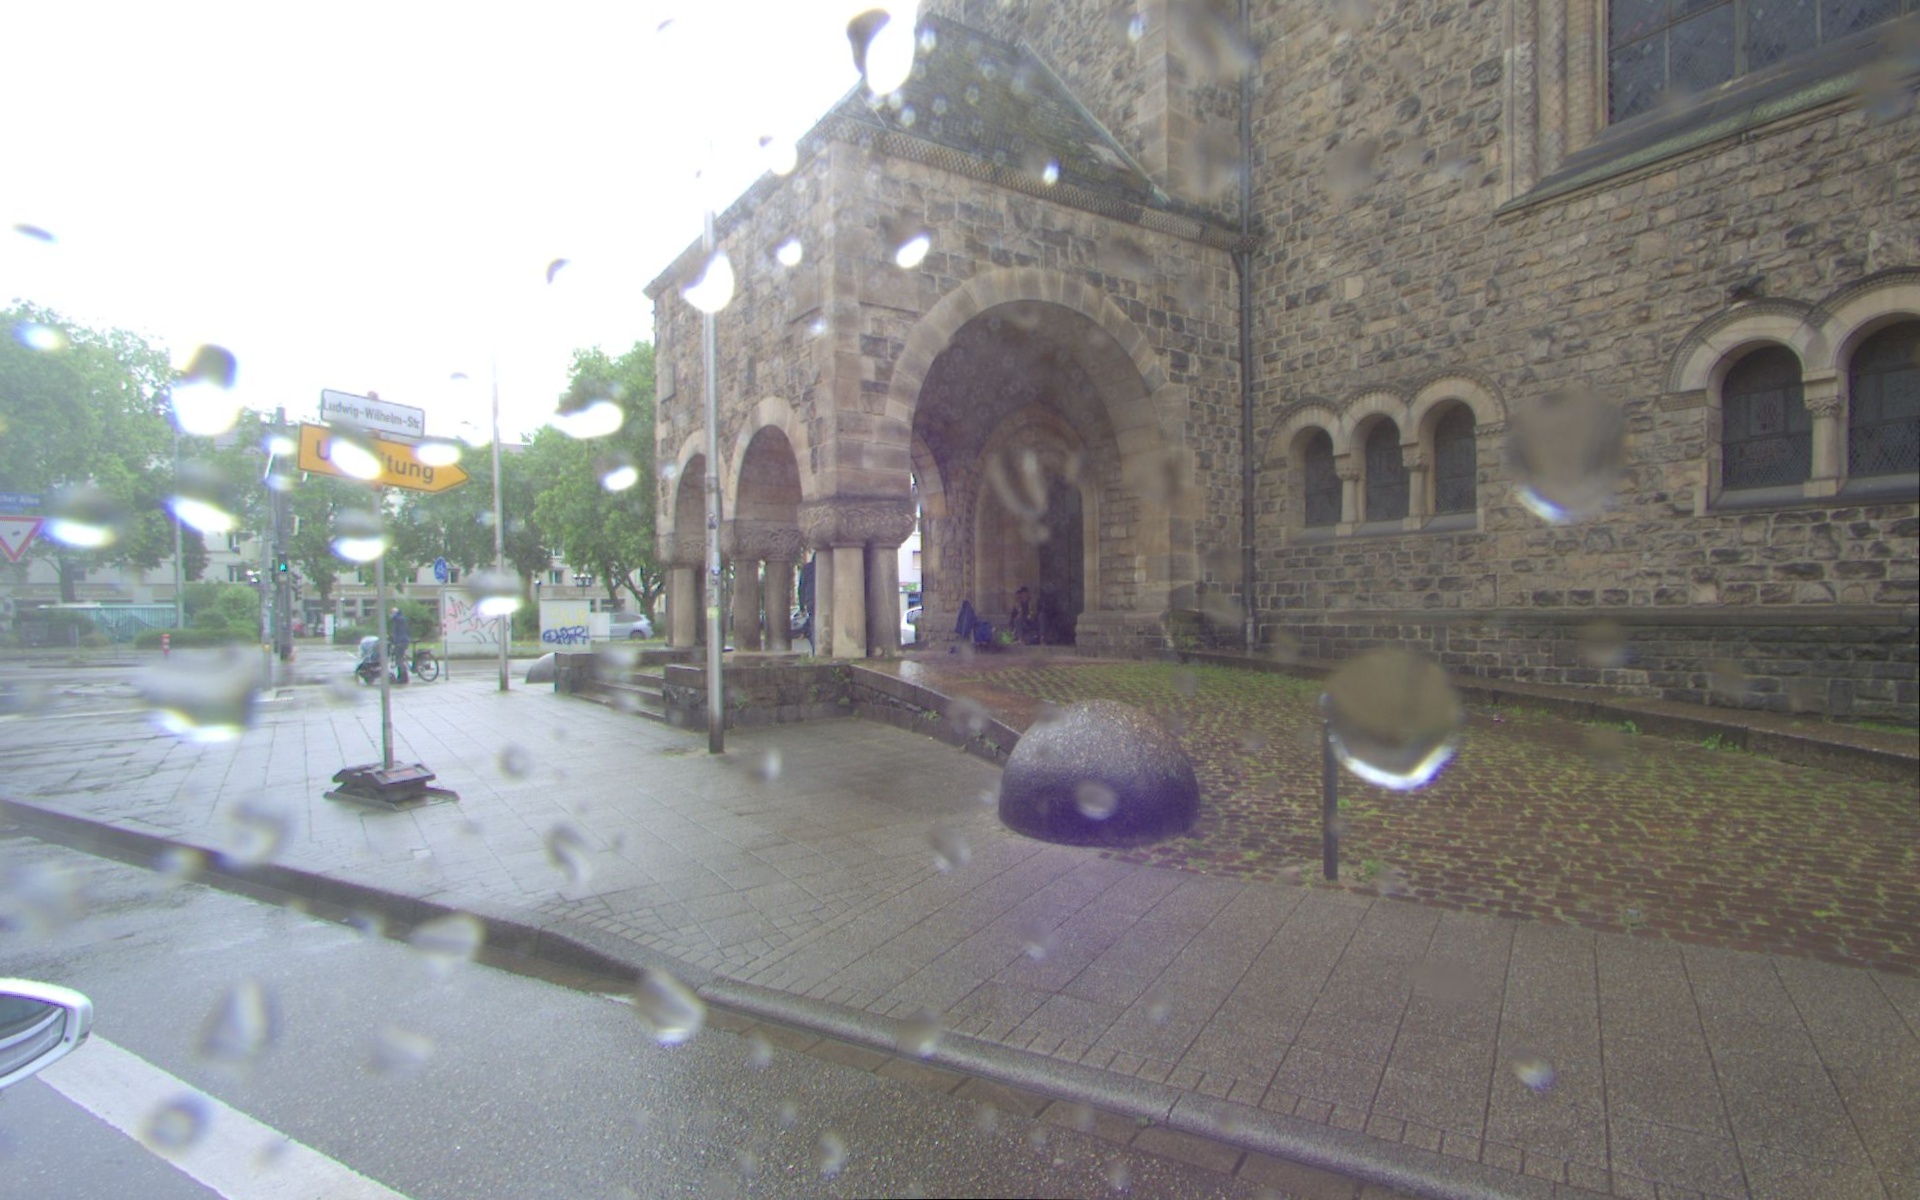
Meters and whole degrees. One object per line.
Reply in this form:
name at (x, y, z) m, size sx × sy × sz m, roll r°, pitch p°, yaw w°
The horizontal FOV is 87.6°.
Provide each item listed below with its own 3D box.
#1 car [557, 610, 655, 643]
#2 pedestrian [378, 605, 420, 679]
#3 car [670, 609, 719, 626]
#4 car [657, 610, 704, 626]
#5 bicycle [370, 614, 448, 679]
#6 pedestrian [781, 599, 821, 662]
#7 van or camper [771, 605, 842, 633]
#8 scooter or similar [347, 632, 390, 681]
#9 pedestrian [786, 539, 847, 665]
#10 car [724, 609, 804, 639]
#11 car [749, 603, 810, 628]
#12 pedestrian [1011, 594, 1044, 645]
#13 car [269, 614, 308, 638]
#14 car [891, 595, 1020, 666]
car at (-18.323, 1.360, 51.881) m, size 4.497 × 1.621 × 1.780 m, roll 0°, pitch 0°, yaw -35°
pedestrian at (-12.947, 0.948, 23.122) m, size 0.680 × 1.685 × 0.601 m, roll 0°, pitch 1°, yaw 35°
car at (-24.273, 1.615, 91.582) m, size 3.945 × 1.471 × 1.667 m, roll -1°, pitch 0°, yaw -33°
car at (-26.734, 1.749, 95.812) m, size 3.945 × 1.471 × 1.667 m, roll -1°, pitch 0°, yaw -33°
bicycle at (-12.973, 1.083, 23.558) m, size 1.907 × 1.486 × 0.532 m, roll 0°, pitch 0°, yaw 23°
pedestrian at (-2.304, 0.437, 14.529) m, size 0.448 × 0.896 × 0.396 m, roll 0°, pitch 0°, yaw 14°
van or camper at (-10.882, 1.318, 71.026) m, size 4.615 × 1.940 × 1.984 m, roll 0°, pitch 0°, yaw -38°
scooter or similar at (-13.492, 1.278, 22.827) m, size 0.912 × 1.062 × 0.511 m, roll 0°, pitch 1°, yaw 35°
pedestrian at (-2.008, 0.031, 14.076) m, size 0.622 × 1.725 × 0.677 m, roll 0°, pitch 0°, yaw 15°
car at (-11.111, 1.347, 56.943) m, size 4.125 × 1.621 × 1.766 m, roll 0°, pitch 0°, yaw -35°
car at (-13.615, 1.151, 75.476) m, size 4.210 × 1.802 × 1.725 m, roll -1°, pitch 0°, yaw -38°
pedestrian at (1.223, 0.352, 18.136) m, size 0.391 × 0.896 × 0.453 m, roll -1°, pitch 0°, yaw -35°
car at (-44.784, 1.741, 66.769) m, size 1.651 × 1.541 × 3.645 m, roll -1°, pitch -1°, yaw -42°
car at (-0.177, 0.789, 24.883) m, size 1.712 × 1.593 × 3.343 m, roll 0°, pitch -4°, yaw -31°
